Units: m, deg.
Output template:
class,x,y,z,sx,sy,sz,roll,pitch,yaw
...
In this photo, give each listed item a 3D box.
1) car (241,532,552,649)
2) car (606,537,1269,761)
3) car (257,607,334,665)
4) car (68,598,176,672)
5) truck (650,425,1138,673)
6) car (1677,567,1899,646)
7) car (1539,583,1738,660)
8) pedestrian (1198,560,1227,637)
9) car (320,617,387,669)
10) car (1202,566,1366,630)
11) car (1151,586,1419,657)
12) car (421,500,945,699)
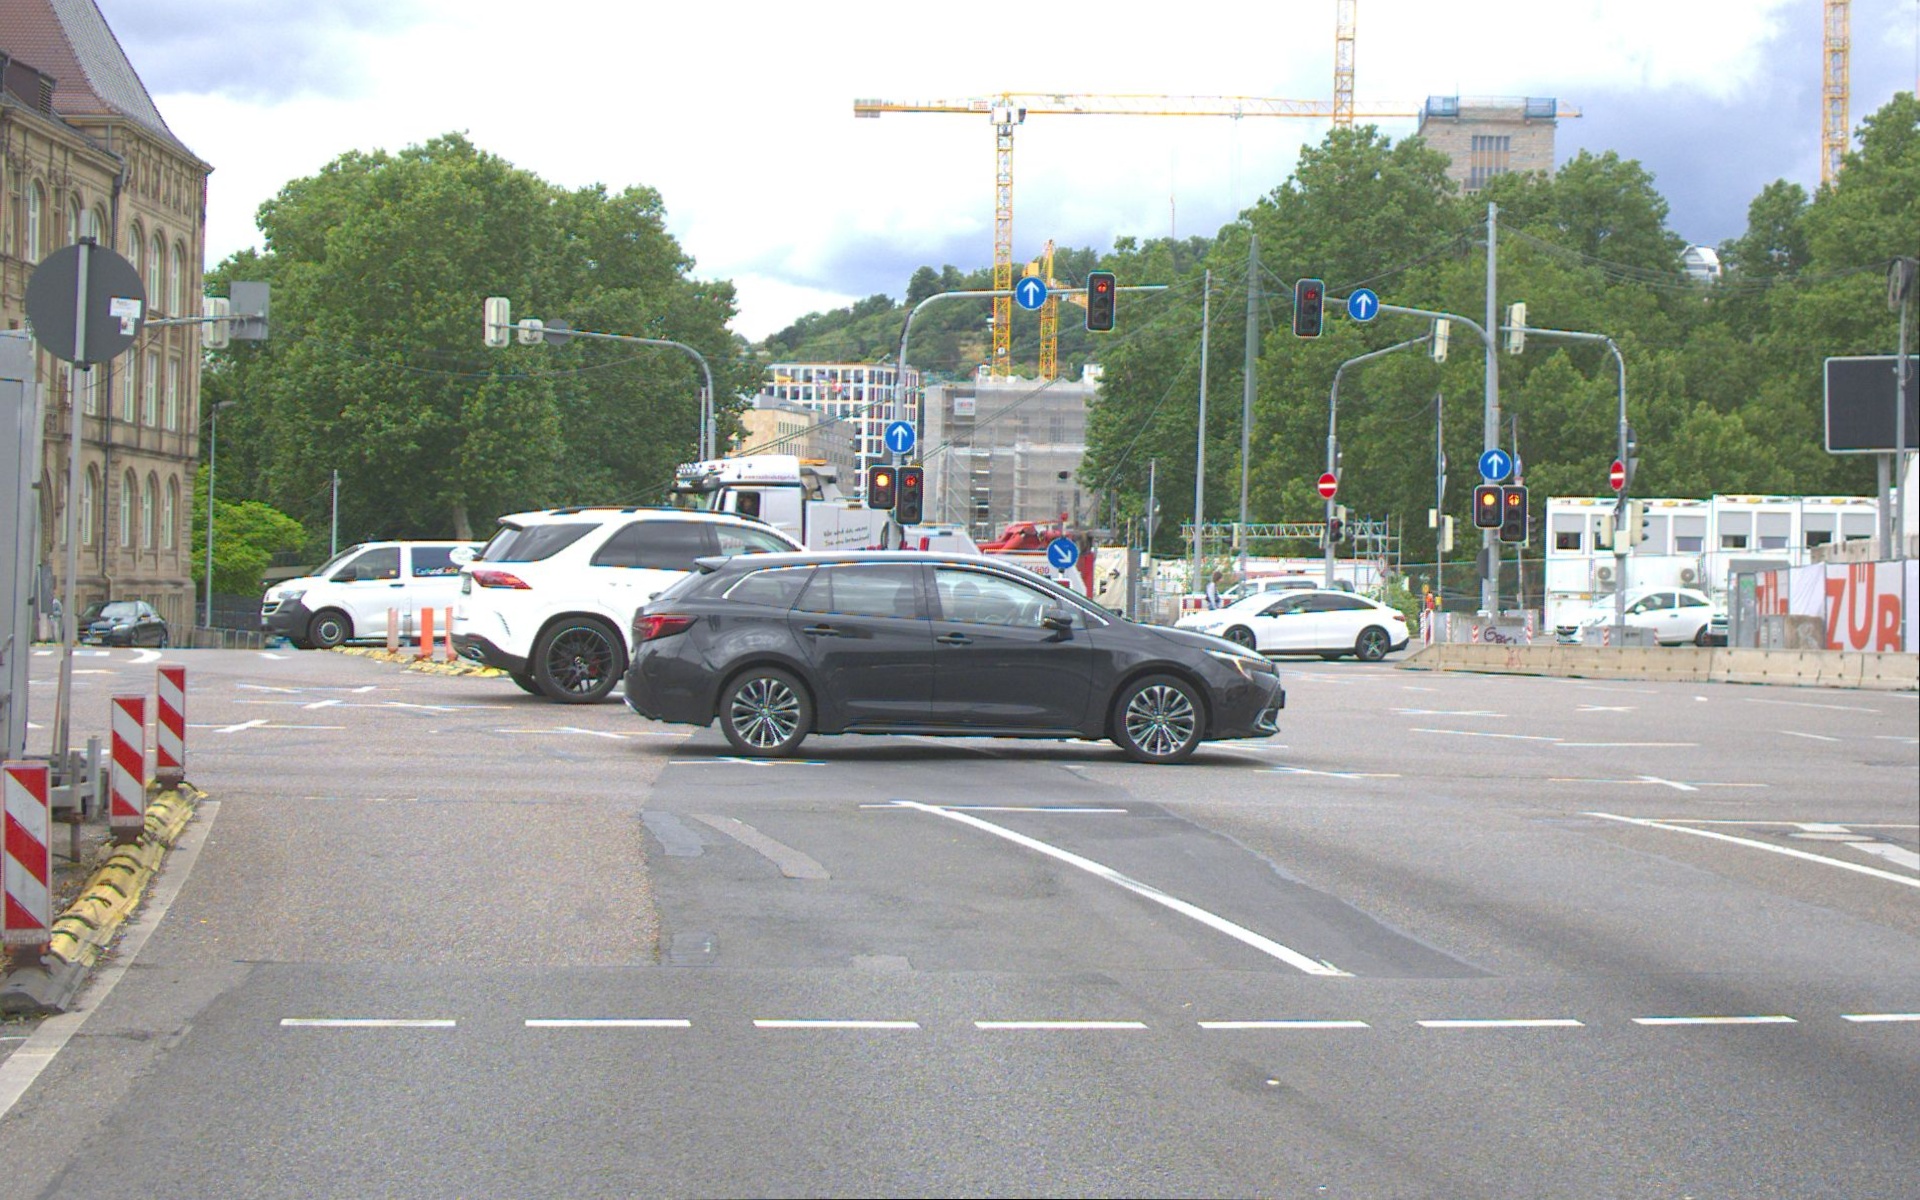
class,x,y,z,sx,sy,sz,roll,pitch,yaw
car,-10.073,-0.159,61.483,5.129,2.007,2.078,1,1,-23
car,-0.181,0.326,24.379,4.490,1.461,2.000,1,1,-2
car,-22.235,1.174,115.169,1.993,1.831,4.001,1,1,-3
car,-21.753,0.890,89.345,1.993,1.831,4.001,1,1,-3
truck,-1.340,-1.000,71.908,9.712,4.943,3.114,1,0,-25
car,18.547,0.147,77.006,4.583,1.718,1.909,1,1,-23
car,15.712,0.507,79.651,4.146,1.718,1.909,1,1,-23
pedestrian,6.066,-0.044,82.533,0.585,1.834,0.604,1,0,-4
car,-22.835,1.591,129.450,1.993,1.831,4.001,1,1,-3
car,8.779,-0.056,93.236,3.995,1.645,1.863,1,1,34
car,6.817,0.446,72.168,5.132,1.415,2.238,1,1,-23
car,-2.594,0.000,31.966,4.489,1.753,2.001,1,1,-19
